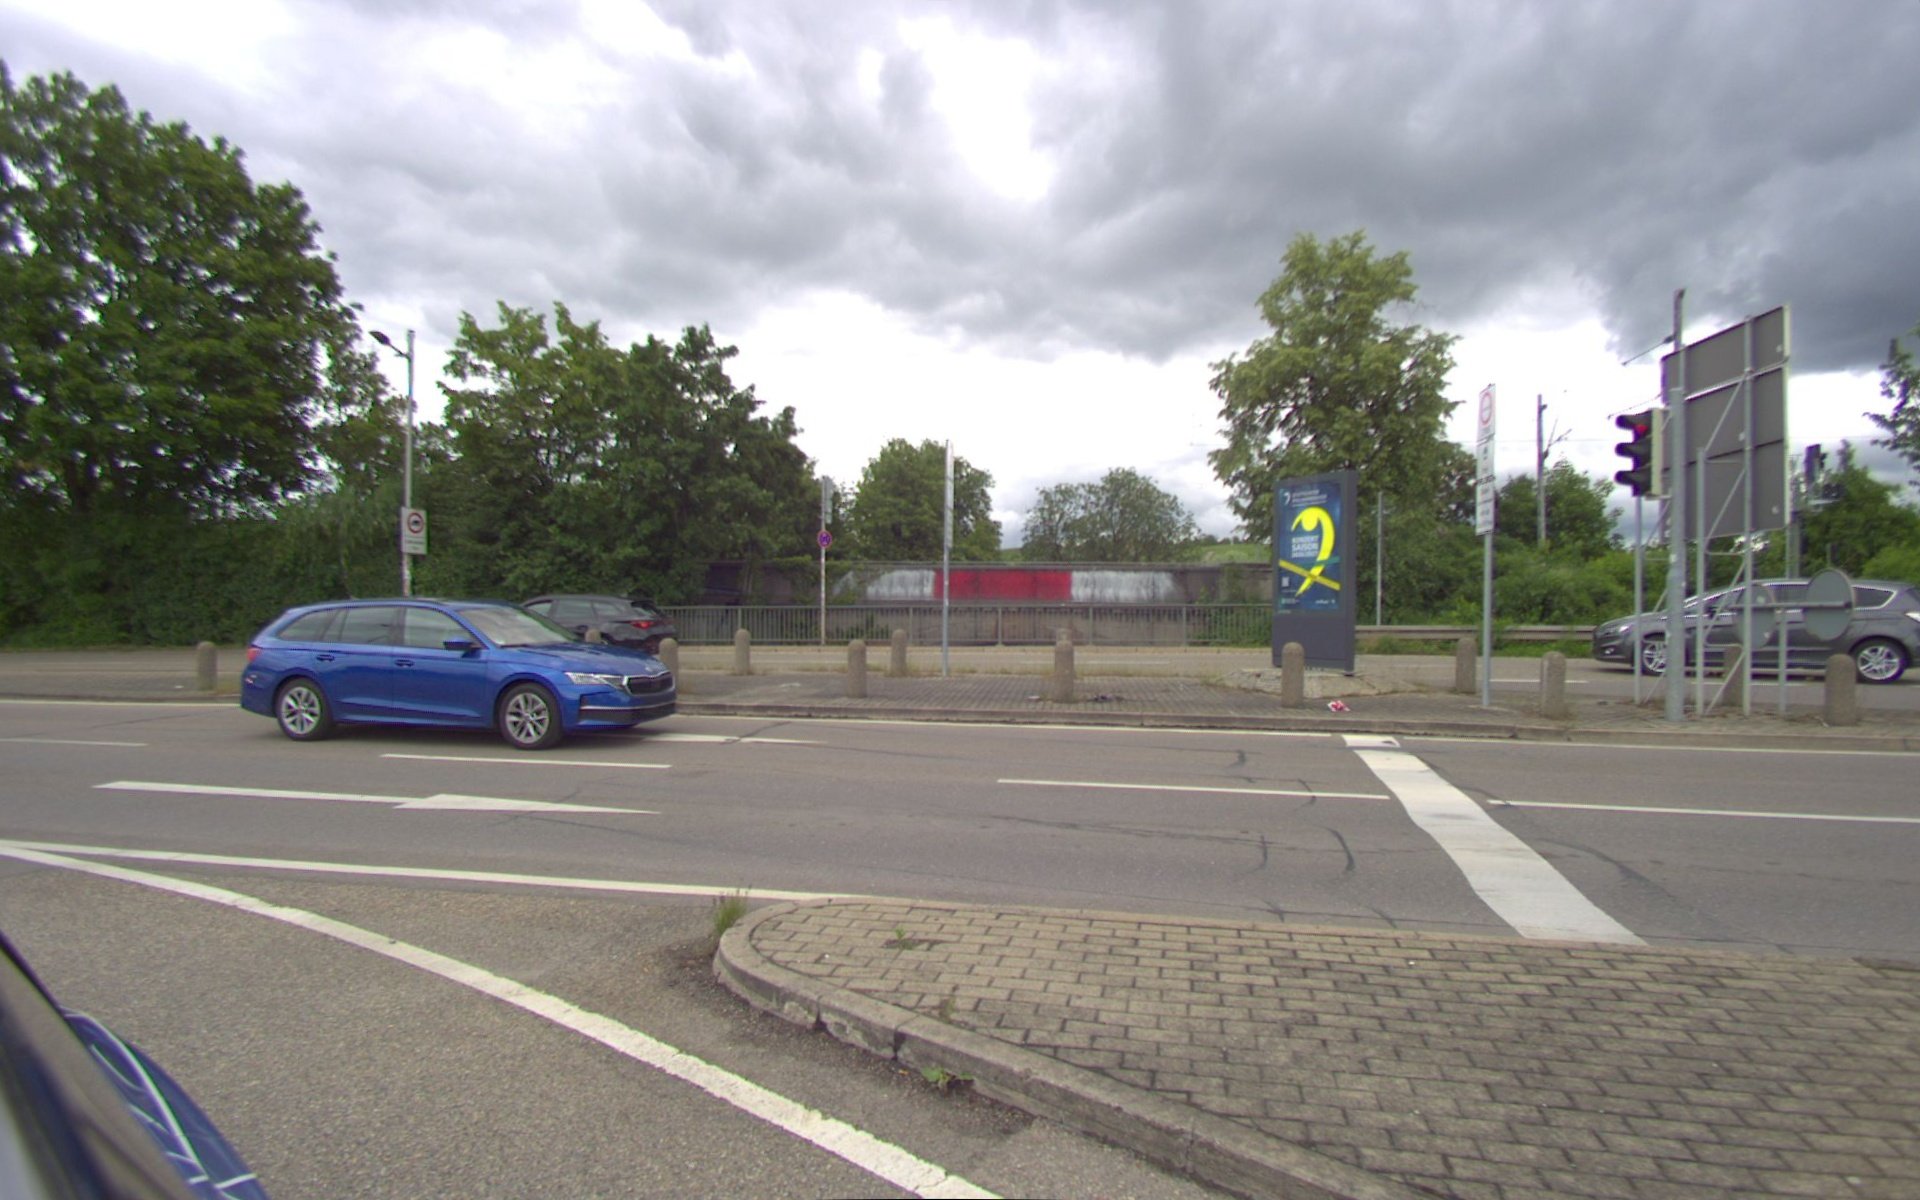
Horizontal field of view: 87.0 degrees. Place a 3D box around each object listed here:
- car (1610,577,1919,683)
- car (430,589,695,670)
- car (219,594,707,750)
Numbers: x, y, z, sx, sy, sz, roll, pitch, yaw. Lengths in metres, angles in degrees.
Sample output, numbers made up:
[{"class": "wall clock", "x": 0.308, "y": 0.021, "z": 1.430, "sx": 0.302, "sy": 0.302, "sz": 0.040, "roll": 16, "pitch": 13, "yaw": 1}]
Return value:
[{"class": "car", "x": 13.615, "y": 0.474, "z": 16.786, "sx": 4.678, "sy": 1.583, "sz": 1.935, "roll": -1, "pitch": -1, "yaw": 32}, {"class": "car", "x": -7.864, "y": 0.571, "z": 20.326, "sx": 4.558, "sy": 1.468, "sz": 1.955, "roll": -1, "pitch": 0, "yaw": 2}, {"class": "car", "x": -5.170, "y": 0.684, "z": 10.686, "sx": 4.536, "sy": 1.427, "sz": 1.835, "roll": -1, "pitch": 0, "yaw": 14}]
